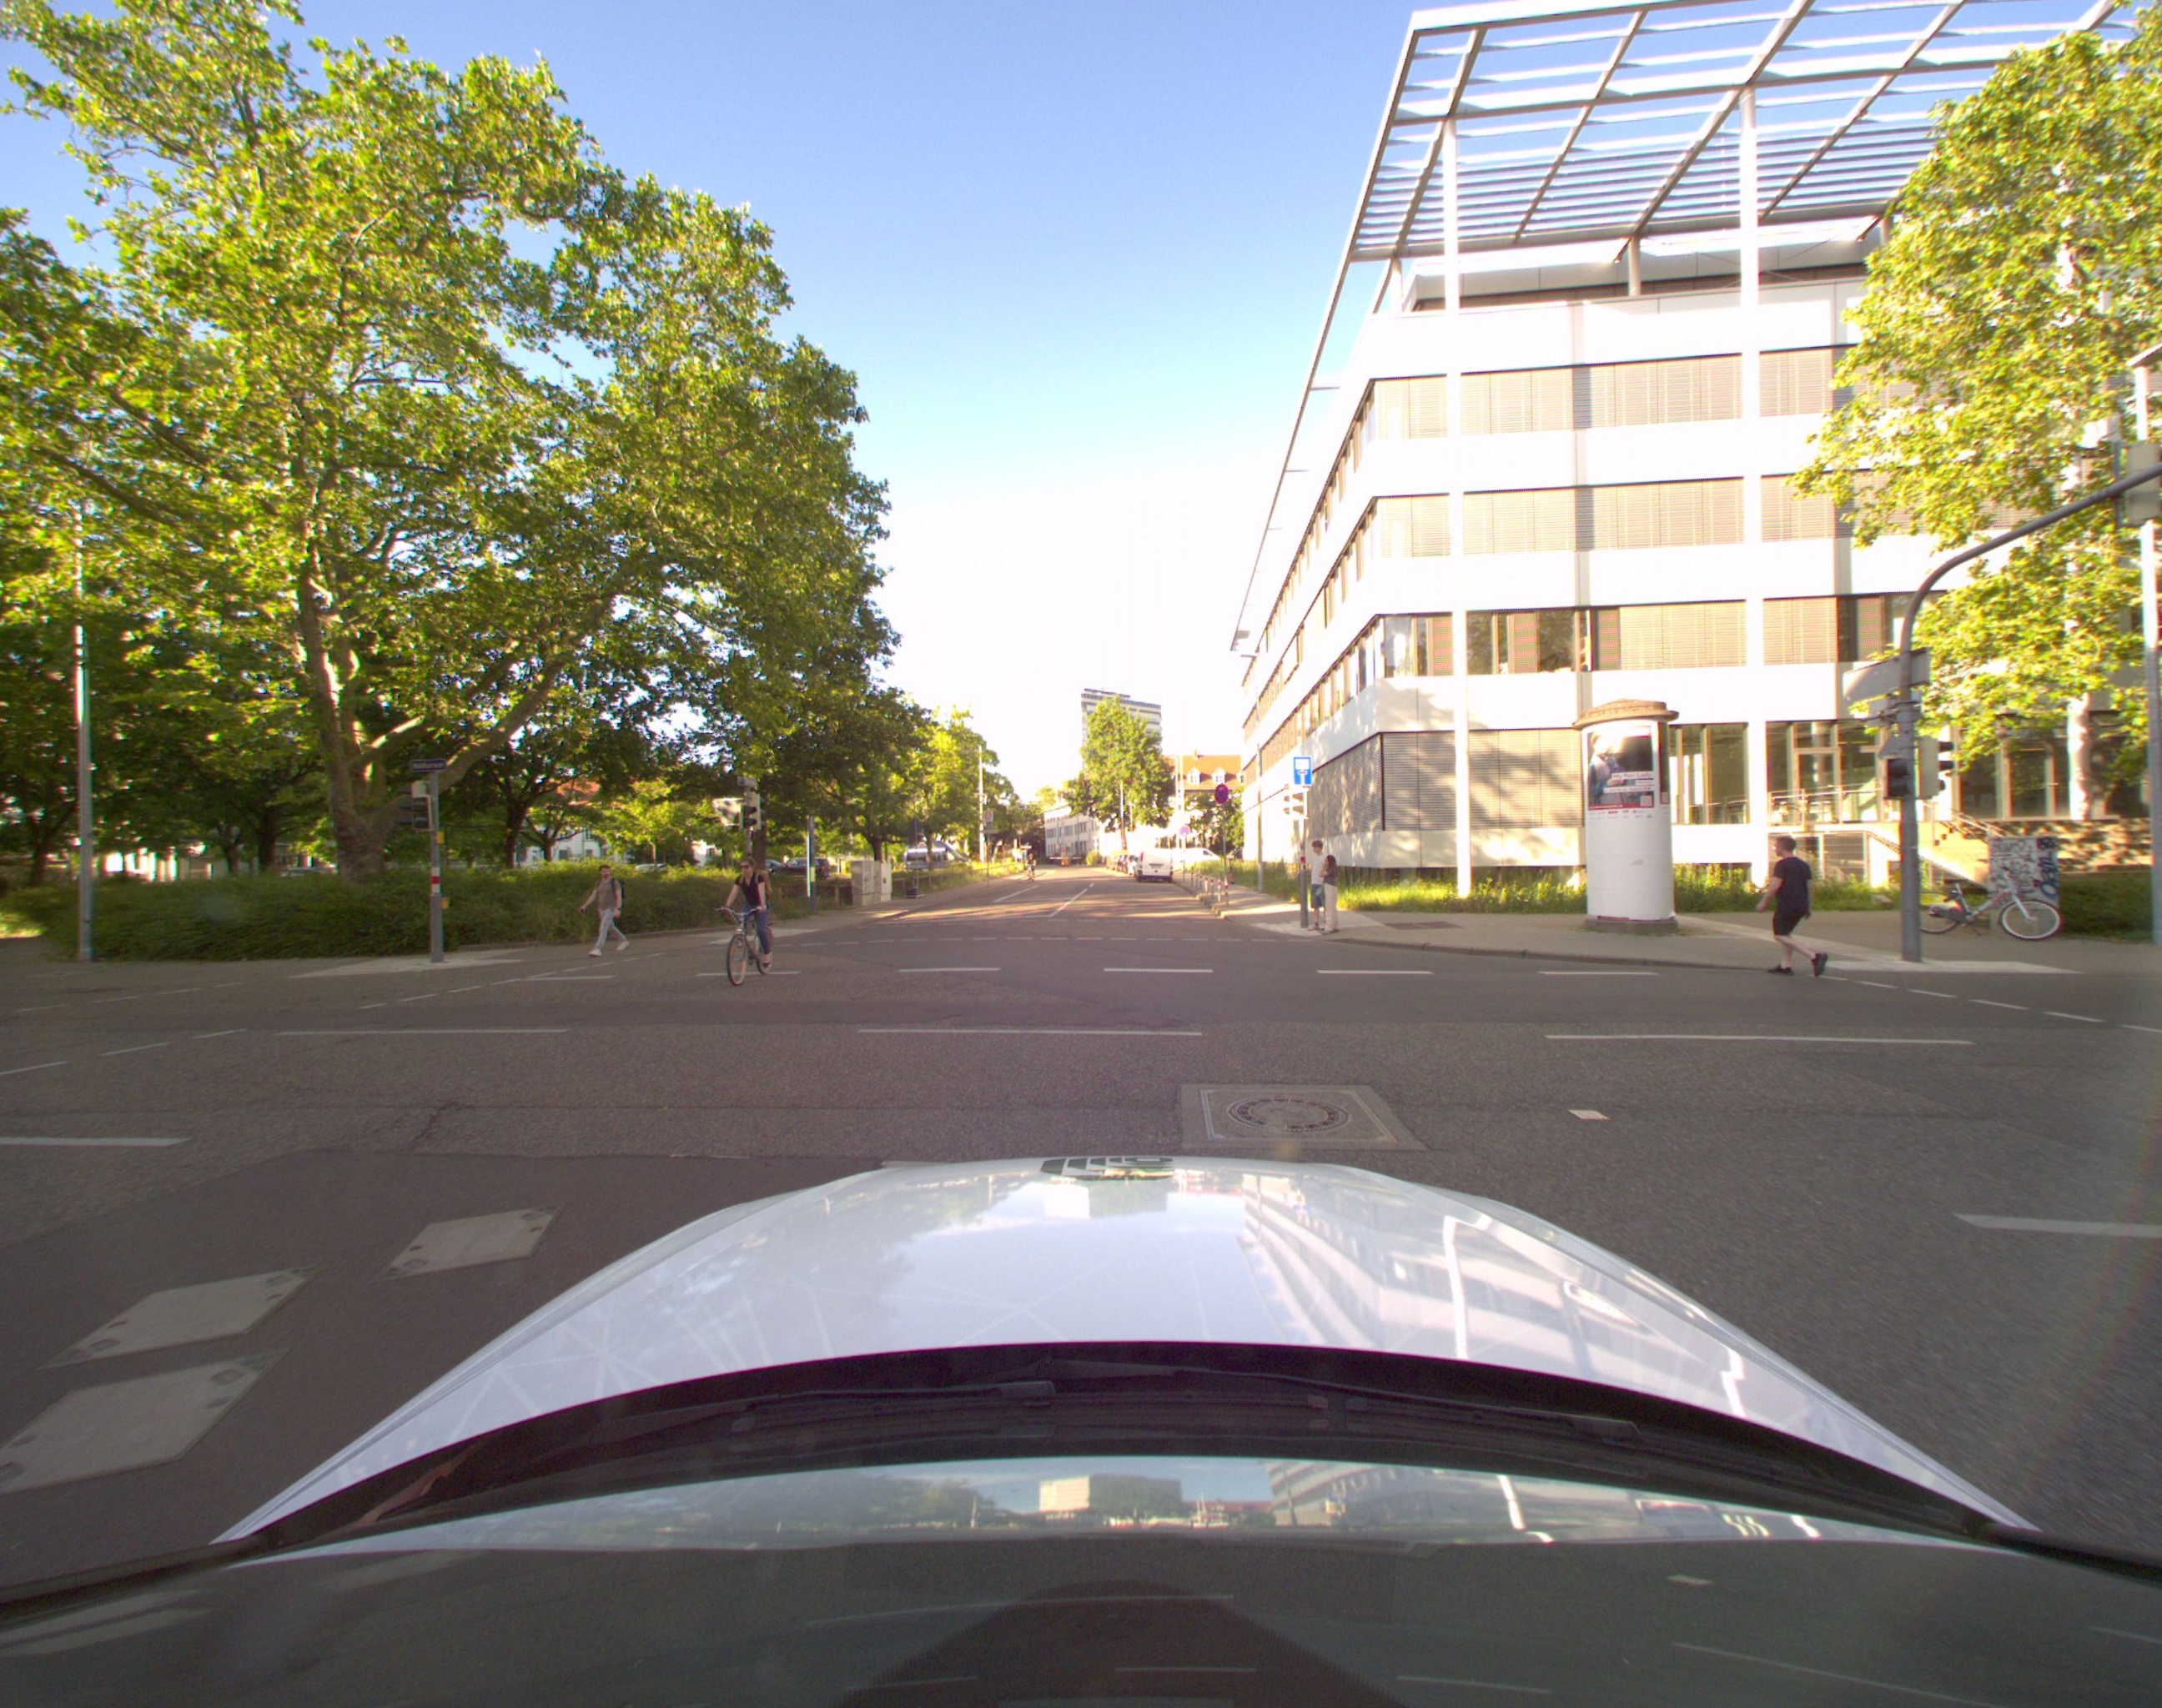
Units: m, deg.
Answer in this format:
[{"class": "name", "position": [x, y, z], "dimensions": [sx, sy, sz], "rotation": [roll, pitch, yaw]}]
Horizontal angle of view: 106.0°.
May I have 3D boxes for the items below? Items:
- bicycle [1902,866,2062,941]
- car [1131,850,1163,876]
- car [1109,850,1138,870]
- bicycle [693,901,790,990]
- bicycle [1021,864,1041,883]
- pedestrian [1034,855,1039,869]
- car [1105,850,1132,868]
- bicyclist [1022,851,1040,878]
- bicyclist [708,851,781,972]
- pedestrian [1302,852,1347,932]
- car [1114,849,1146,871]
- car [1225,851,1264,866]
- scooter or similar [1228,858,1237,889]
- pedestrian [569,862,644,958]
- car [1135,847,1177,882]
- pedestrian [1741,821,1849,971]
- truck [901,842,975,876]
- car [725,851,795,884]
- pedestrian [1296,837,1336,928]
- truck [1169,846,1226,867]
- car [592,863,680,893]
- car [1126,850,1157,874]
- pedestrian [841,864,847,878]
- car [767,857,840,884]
[{"class": "bicycle", "position": [14.568, 0.761, 13.229], "dimensions": [0.509, 1.049, 1.675], "rotation": [-3, 2, -22]}, {"class": "car", "position": [4.277, 0.572, 53.260], "dimensions": [1.881, 1.555, 4.418], "rotation": [0, 1, 3]}, {"class": "car", "position": [3.655, 0.505, 71.371], "dimensions": [1.886, 1.655, 4.406], "rotation": [-1, 1, -6]}, {"class": "bicycle", "position": [-4.473, 1.164, 10.865], "dimensions": [0.614, 0.970, 1.838], "rotation": [-1, 0, -4]}, {"class": "bicycle", "position": [-2.940, 1.137, 47.998], "dimensions": [0.862, 1.009, 2.415], "rotation": [-3, -1, 2]}, {"class": "pedestrian", "position": [-5.325, 0.940, 98.006], "dimensions": [0.544, 1.677, 0.475], "rotation": [-1, 0, -5]}, {"class": "car", "position": [3.521, 0.443, 76.555], "dimensions": [1.886, 1.655, 4.406], "rotation": [-1, 1, -6]}, {"class": "bicyclist", "position": [-2.961, 0.633, 48.020], "dimensions": [0.862, 1.515, 1.019], "rotation": [-3, -1, 1]}, {"class": "bicyclist", "position": [-4.480, 0.739, 10.881], "dimensions": [0.614, 1.532, 0.902], "rotation": [-1, 0, -5]}, {"class": "pedestrian", "position": [4.916, 0.746, 16.465], "dimensions": [0.558, 1.540, 0.675], "rotation": [-4, 0, -6]}, {"class": "car", "position": [3.925, 0.475, 66.278], "dimensions": [1.886, 1.655, 4.406], "rotation": [-1, 1, -6]}, {"class": "car", "position": [16.596, 0.444, 82.759], "dimensions": [3.551, 1.546, 1.555], "rotation": [-1, 0, -7]}, {"class": "scooter or similar", "position": [7.054, 0.908, 37.925], "dimensions": [0.328, 1.424, 1.337], "rotation": [1, -1, 7]}, {"class": "pedestrian", "position": [-8.910, 1.037, 15.314], "dimensions": [0.697, 1.723, 0.959], "rotation": [-2, -1, 17]}, {"class": "car", "position": [4.089, 0.530, 45.036], "dimensions": [2.077, 1.795, 4.418], "rotation": [0, 1, 3]}, {"class": "pedestrian", "position": [9.098, 0.507, 10.415], "dimensions": [0.702, 1.840, 0.840], "rotation": [1, 0, 12]}, {"class": "truck", "position": [-10.233, 0.355, 58.573], "dimensions": [4.809, 2.399, 2.089], "rotation": [-1, 0, 2]}, {"class": "car", "position": [-25.087, 1.080, 63.673], "dimensions": [4.535, 2.391, 2.076], "rotation": [-2, -1, 3]}, {"class": "pedestrian", "position": [4.938, 0.588, 17.083], "dimensions": [0.554, 1.851, 0.681], "rotation": [-4, 0, 28]}, {"class": "truck", "position": [11.774, 0.244, 82.561], "dimensions": [5.332, 2.014, 1.995], "rotation": [-1, 0, -7]}, {"class": "car", "position": [-28.833, 1.553, 52.861], "dimensions": [4.535, 1.730, 2.076], "rotation": [-2, -1, 3]}, {"class": "car", "position": [4.334, 0.539, 58.757], "dimensions": [1.883, 1.555, 4.414], "rotation": [0, 1, -1]}, {"class": "pedestrian", "position": [-22.831, 1.643, 78.439], "dimensions": [0.559, 1.323, 0.575], "rotation": [-1, 0, -14]}, {"class": "car", "position": [-20.169, 1.182, 59.379], "dimensions": [4.535, 1.730, 2.076], "rotation": [-2, -1, 3]}]
